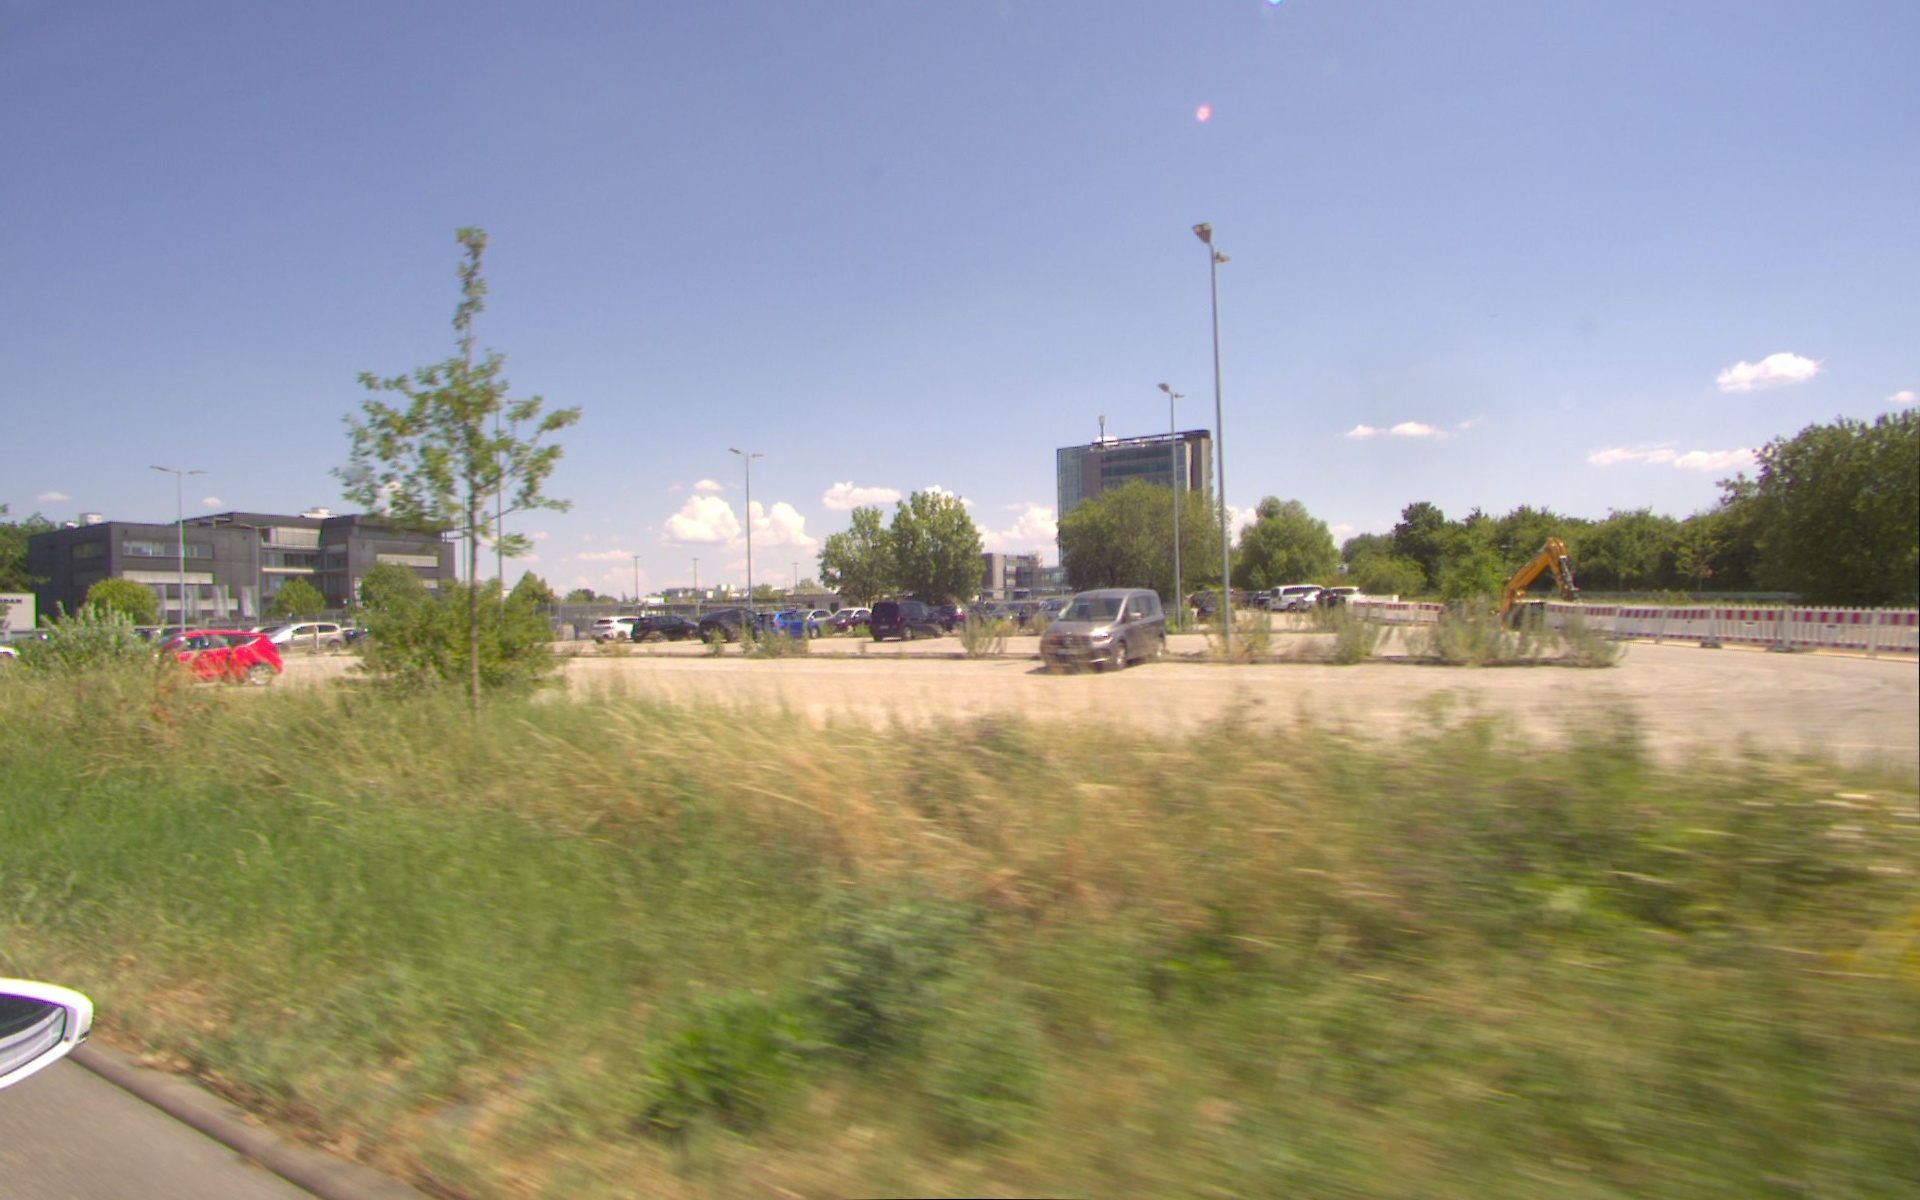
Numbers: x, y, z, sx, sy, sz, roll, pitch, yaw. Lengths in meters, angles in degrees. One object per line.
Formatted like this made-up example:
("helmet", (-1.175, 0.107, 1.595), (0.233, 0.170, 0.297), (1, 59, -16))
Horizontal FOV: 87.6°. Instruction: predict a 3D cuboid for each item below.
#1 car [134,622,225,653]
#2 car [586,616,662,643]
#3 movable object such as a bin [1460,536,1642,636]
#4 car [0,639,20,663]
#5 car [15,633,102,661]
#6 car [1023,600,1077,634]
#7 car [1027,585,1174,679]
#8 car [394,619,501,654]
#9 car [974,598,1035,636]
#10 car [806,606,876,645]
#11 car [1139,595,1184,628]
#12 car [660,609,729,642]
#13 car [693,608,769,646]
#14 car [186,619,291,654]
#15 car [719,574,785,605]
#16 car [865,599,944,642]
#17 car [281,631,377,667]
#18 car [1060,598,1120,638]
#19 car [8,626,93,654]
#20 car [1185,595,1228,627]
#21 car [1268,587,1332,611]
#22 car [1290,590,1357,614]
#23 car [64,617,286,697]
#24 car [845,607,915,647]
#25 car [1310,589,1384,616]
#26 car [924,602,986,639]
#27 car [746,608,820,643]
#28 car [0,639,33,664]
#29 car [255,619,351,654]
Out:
("car", (-47.649, 2.259, 61.243), (1.832, 1.618, 3.983), (2, 2, 27))
("car", (-18.727, 1.623, 55.983), (1.670, 1.359, 3.985), (-2, 0, 26))
("movable object such as a bin", (26.463, -0.674, 45.480), (2.930, 4.100, 8.098), (1, 2, -4))
("car", (-62.916, 3.361, 63.817), (1.741, 1.420, 3.983), (2, 2, 27))
("car", (-60.793, 3.144, 67.577), (1.741, 1.618, 3.983), (2, 2, 27))
("car", (4.390, 0.768, 48.341), (1.690, 1.440, 3.991), (2, 2, 19))
("car", (3.378, 0.652, 23.333), (1.910, 1.941, 4.456), (0, 1, 29))
("car", (-23.484, 1.641, 46.003), (1.899, 1.413, 3.980), (-2, -1, 31))
("car", (2.257, 0.805, 50.013), (1.964, 1.662, 3.991), (2, 2, 19))
("car", (-6.539, 1.361, 55.486), (1.968, 1.908, 3.984), (2, 2, 27))
("car", (11.503, 0.608, 57.077), (1.964, 1.662, 3.991), (2, 2, 19))
("car", (-15.218, 1.442, 57.668), (1.964, 1.662, 3.991), (2, 2, 19))
("car", (-11.532, 1.341, 50.612), (1.964, 1.662, 3.991), (2, 2, 19))
("car", (-39.497, 1.964, 54.906), (1.740, 1.618, 4.361), (2, 2, 27))
("car", (-11.909, -0.624, 57.602), (1.964, 1.662, 3.991), (2, 2, 19))
("car", (-2.466, 0.879, 45.538), (1.731, 1.781, 3.982), (0, 1, 28))
("car", (-33.548, 2.567, 53.343), (1.741, 1.618, 3.983), (2, 2, 27))
("car", (6.081, 0.788, 46.540), (1.964, 1.662, 3.991), (2, 2, 19))
("car", (-63.065, 2.737, 69.502), (1.741, 1.618, 3.983), (2, 2, 27))
("car", (13.930, 0.585, 56.516), (1.964, 1.662, 3.991), (2, 2, 19))
("car", (24.210, -0.057, 71.397), (3.922, 1.549, 1.876), (-2, 0, -2))
("car", (25.093, 0.127, 69.150), (3.922, 1.549, 1.876), (-2, 0, -2))
("car", (-19.694, 1.371, 25.284), (1.899, 1.746, 3.980), (-2, 0, 31))
("car", (-4.267, 1.433, 54.096), (1.968, 1.908, 3.984), (2, 2, 27))
("car", (24.458, 0.163, 63.401), (3.922, 1.549, 1.876), (-2, 0, -2))
("car", (-0.229, 1.007, 51.410), (1.964, 1.662, 3.991), (2, 2, 19))
("car", (-8.703, 1.219, 49.476), (1.706, 1.484, 3.793), (2, 2, 27))
("car", (-61.015, 3.288, 62.684), (1.741, 1.420, 3.981), (2, 2, 29))
("car", (-35.535, 1.966, 54.274), (1.741, 1.618, 3.983), (2, 2, 27))
